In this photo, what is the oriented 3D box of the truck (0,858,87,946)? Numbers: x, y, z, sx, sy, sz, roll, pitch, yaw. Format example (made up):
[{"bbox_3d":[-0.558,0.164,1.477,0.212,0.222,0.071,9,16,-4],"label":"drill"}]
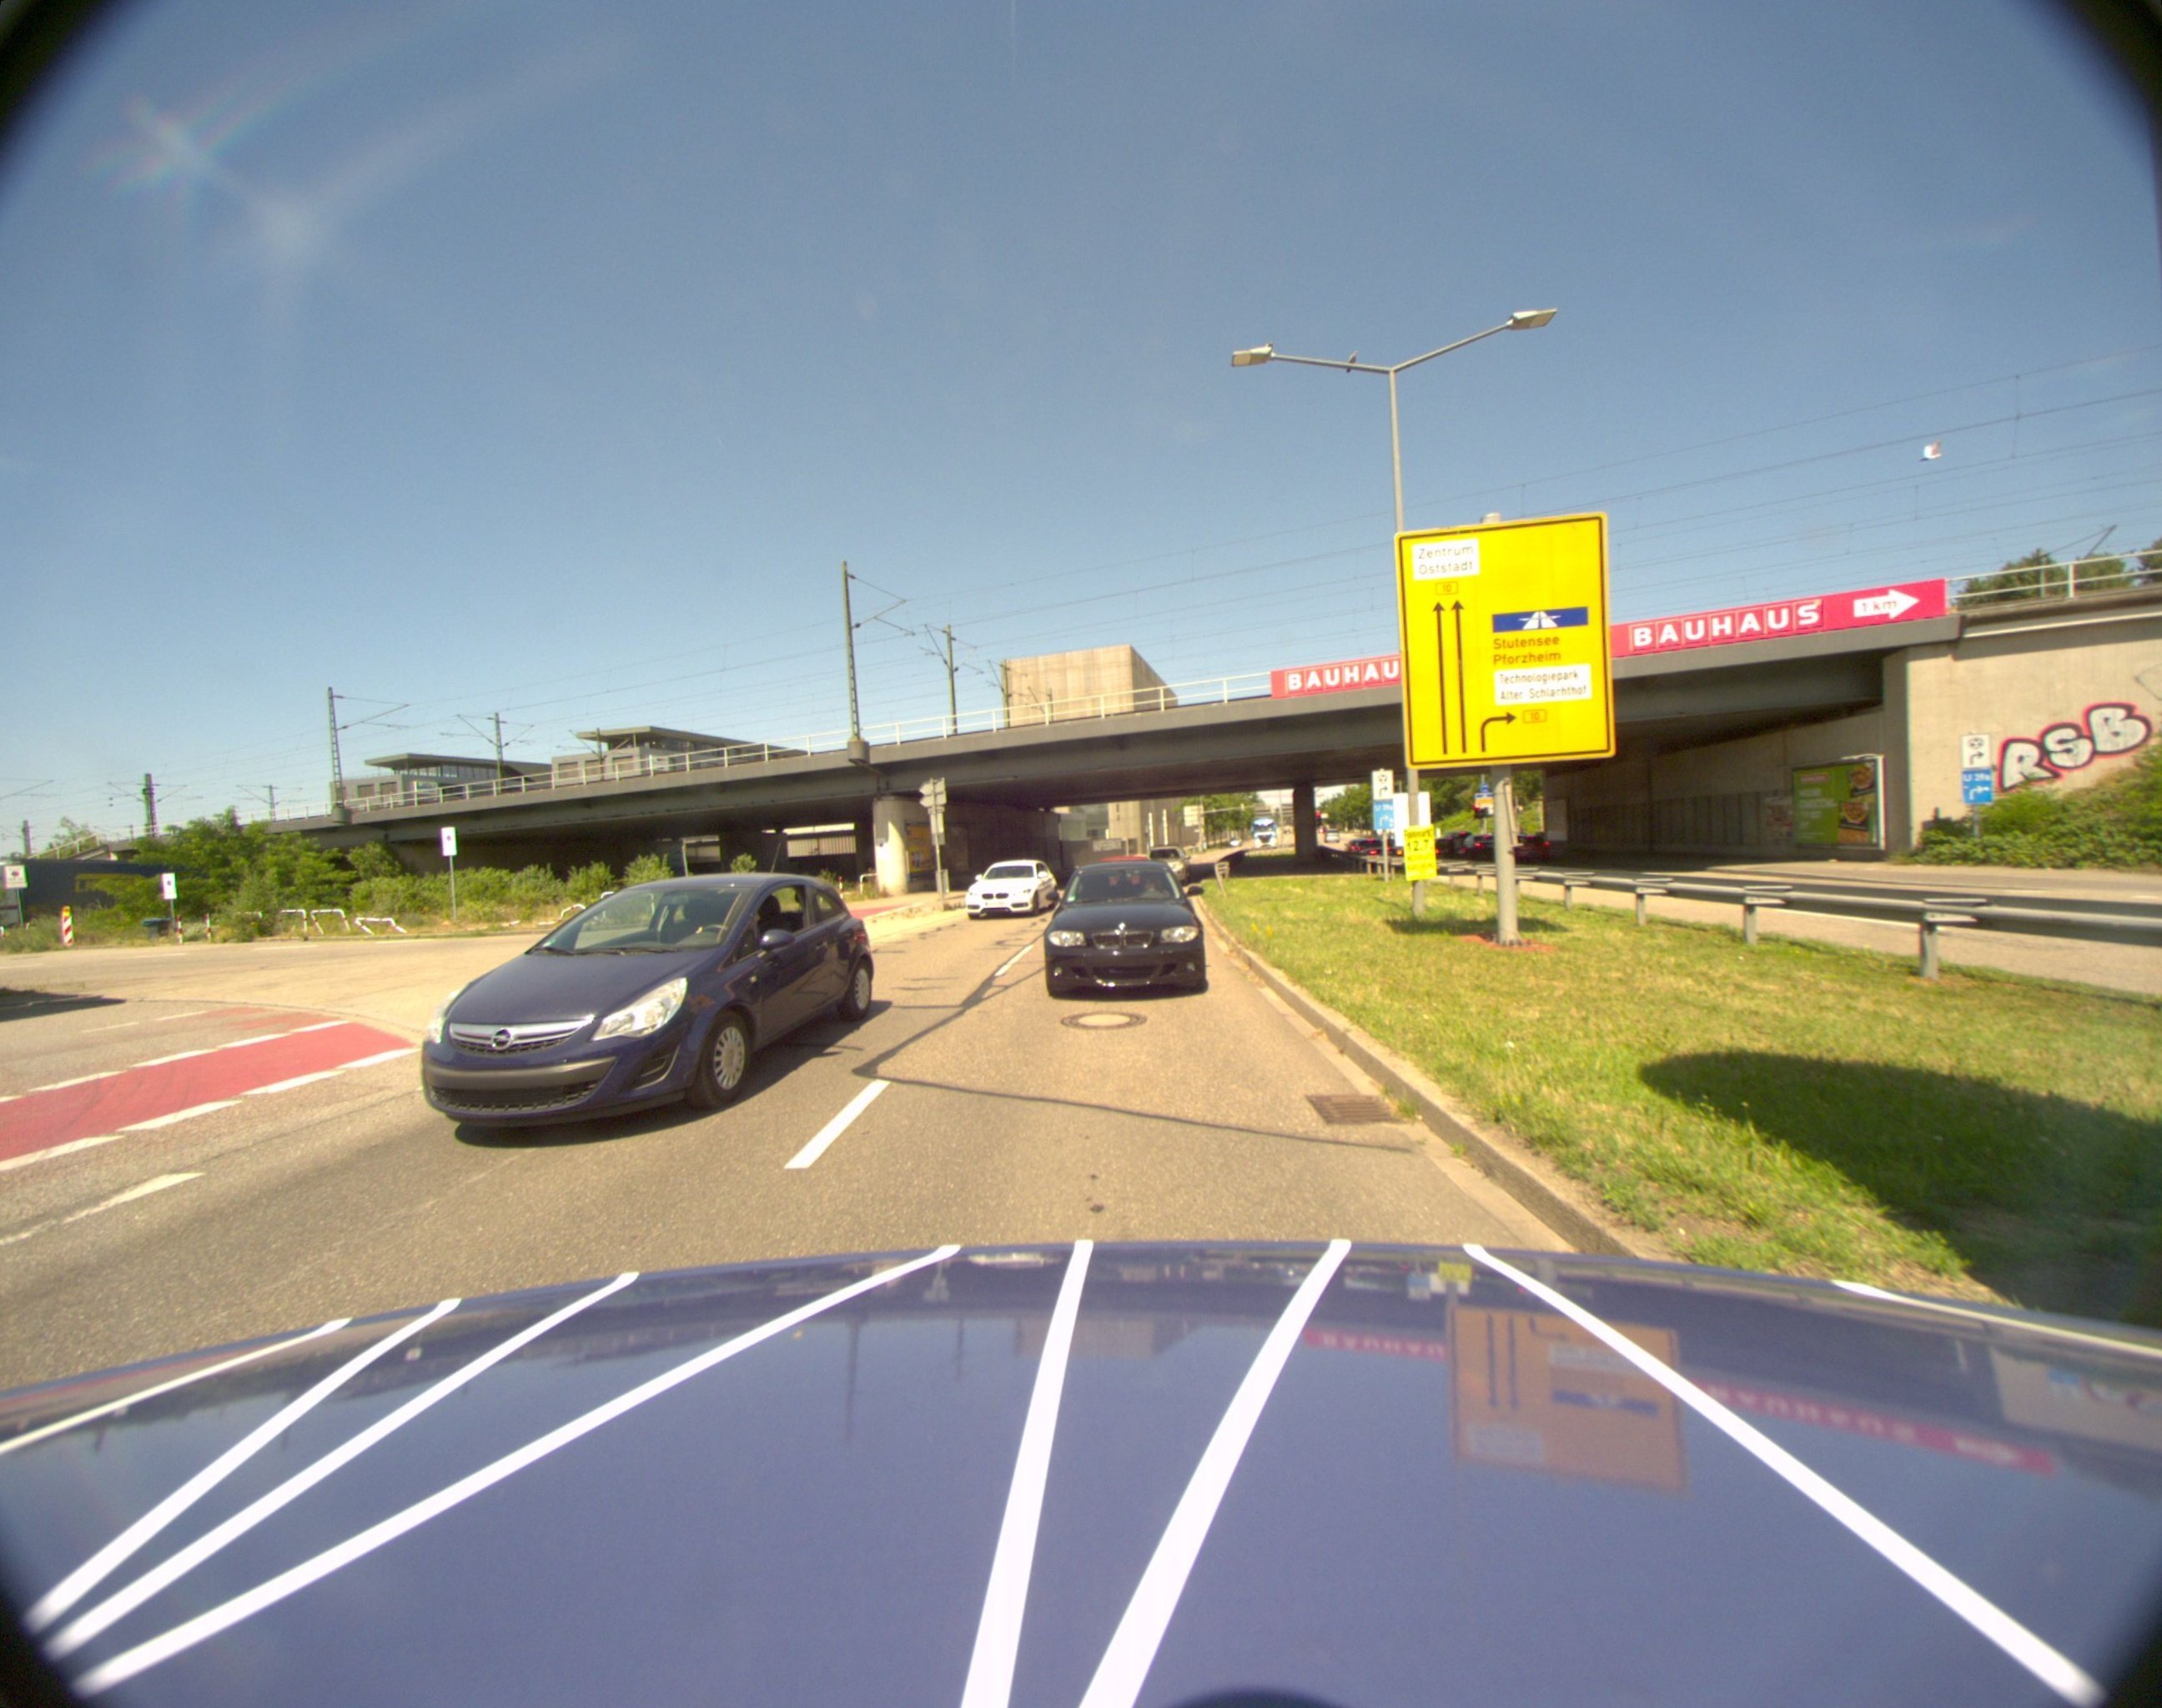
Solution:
[{"bbox_3d":[-51.153,2.282,35.340,2.595,4.015,6.197,-3,1,-16],"label":"truck"}]

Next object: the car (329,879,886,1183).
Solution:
[{"bbox_3d":[-3.007,1.007,5.938,1.650,1.435,3.892,-2,0,4],"label":"car"}]

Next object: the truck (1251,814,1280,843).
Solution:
[{"bbox_3d":[22.691,-3.095,93.194,3.017,3.398,6.573,-2,1,16],"label":"truck"}]

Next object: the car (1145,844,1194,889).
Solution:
[{"bbox_3d":[3.742,0.458,31.594,1.844,1.686,3.701,-2,1,8],"label":"car"}]

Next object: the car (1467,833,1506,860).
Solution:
[{"bbox_3d":[23.459,-0.457,44.080,1.571,1.494,3.411,-2,1,21],"label":"car"}]

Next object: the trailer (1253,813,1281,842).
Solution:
[{"bbox_3d":[24.493,-3.365,99.417,2.959,3.354,13.908,-2,1,16],"label":"trailer"}]

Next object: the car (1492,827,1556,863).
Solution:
[{"bbox_3d":[22.255,-0.465,38.355,1.774,1.658,4.019,-2,1,15],"label":"car"}]

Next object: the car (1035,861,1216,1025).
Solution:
[{"bbox_3d":[0.436,0.876,9.321,1.681,1.409,4.055,-2,1,0],"label":"car"}]

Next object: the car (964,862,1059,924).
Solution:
[{"bbox_3d":[-1.743,0.970,20.384,1.762,1.435,4.054,-1,0,6],"label":"car"}]

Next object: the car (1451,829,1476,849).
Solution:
[{"bbox_3d":[25.447,-0.982,50.602,1.183,1.241,2.696,-2,1,21],"label":"car"}]

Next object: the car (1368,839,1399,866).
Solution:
[{"bbox_3d":[15.907,-0.104,40.013,1.410,1.311,3.265,-2,1,21],"label":"car"}]

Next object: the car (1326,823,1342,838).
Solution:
[{"bbox_3d":[35.471,-3.303,106.512,1.996,2.002,4.005,-2,1,19],"label":"car"}]

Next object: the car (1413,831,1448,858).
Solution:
[{"bbox_3d":[20.813,-0.596,45.334,1.617,1.468,3.437,-2,1,21],"label":"car"}]

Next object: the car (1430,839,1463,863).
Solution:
[{"bbox_3d":[19.027,-0.168,39.617,1.269,1.178,2.781,-2,1,21],"label":"car"}]

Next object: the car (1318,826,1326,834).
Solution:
[{"bbox_3d":[68.435,-6.822,216.196,1.996,2.002,4.004,-2,1,16],"label":"car"}]

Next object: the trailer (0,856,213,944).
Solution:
[{"bbox_3d":[-52.743,2.246,40.998,2.582,4.100,10.033,-3,1,-16],"label":"trailer"}]

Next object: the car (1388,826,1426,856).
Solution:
[{"bbox_3d":[22.331,-0.902,52.178,1.905,1.849,4.004,-2,1,18],"label":"car"}]

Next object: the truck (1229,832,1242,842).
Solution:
[{"bbox_3d":[24.704,-2.670,121.600,1.729,1.493,4.004,-2,1,16],"label":"truck"}]

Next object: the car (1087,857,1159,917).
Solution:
[{"bbox_3d":[1.200,0.795,20.157,1.646,1.391,4.054,-1,0,6],"label":"car"}]
